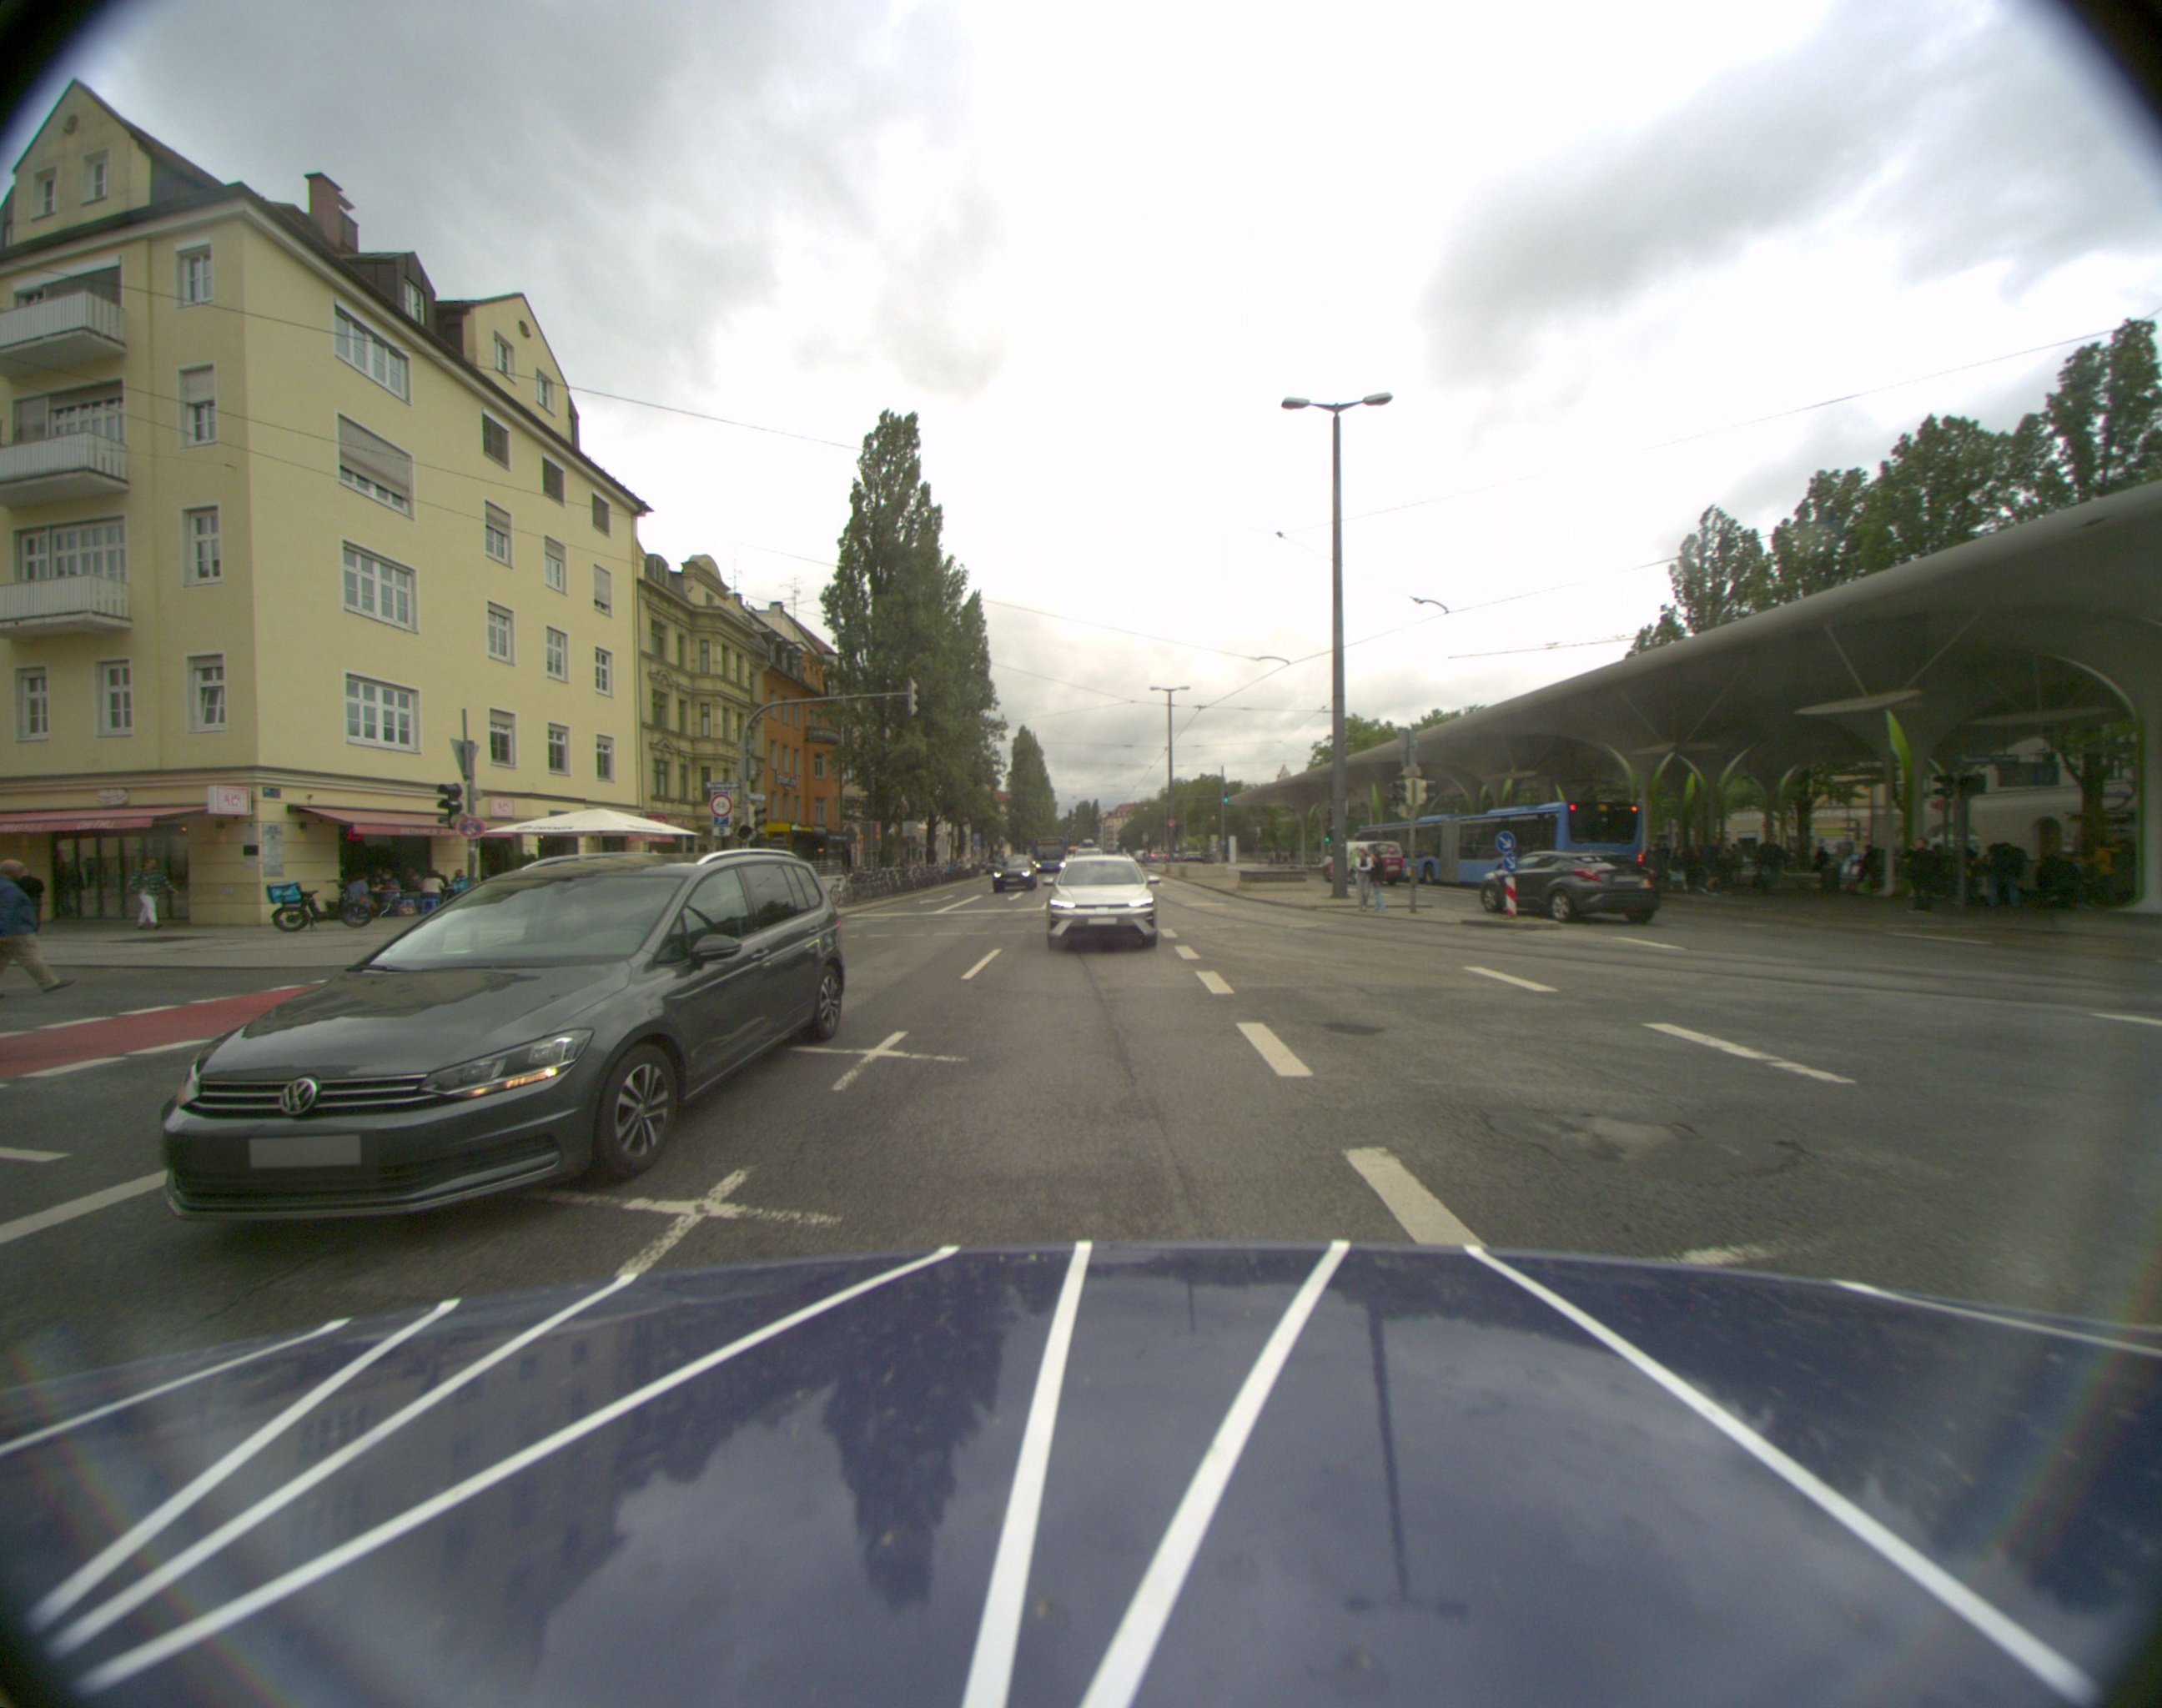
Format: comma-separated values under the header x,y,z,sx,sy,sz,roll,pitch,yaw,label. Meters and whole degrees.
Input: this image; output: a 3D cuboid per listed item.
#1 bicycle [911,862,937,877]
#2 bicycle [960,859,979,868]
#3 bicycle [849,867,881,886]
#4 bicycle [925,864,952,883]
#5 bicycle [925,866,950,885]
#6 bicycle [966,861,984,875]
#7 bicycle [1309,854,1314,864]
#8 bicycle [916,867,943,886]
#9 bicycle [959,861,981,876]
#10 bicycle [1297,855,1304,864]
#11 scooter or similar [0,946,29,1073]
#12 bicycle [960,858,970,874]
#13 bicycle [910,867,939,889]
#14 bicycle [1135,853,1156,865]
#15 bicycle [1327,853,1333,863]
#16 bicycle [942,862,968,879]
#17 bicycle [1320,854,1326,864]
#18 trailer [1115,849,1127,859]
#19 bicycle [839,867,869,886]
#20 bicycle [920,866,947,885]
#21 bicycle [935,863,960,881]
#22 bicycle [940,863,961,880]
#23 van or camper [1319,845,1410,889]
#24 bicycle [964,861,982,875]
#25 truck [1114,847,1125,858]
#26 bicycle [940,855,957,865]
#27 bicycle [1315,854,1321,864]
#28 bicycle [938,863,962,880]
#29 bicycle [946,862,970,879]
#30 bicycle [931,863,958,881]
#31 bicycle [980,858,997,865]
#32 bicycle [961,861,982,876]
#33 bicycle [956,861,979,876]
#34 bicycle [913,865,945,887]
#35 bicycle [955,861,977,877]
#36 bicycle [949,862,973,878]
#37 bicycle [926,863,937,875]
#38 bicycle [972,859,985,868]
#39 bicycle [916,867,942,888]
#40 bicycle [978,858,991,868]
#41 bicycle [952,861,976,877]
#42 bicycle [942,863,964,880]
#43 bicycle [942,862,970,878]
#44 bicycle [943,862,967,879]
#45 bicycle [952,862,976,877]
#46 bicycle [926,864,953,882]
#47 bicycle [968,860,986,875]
x,y,z,sx,sy,sz,roll,pitch,yaw,label
-12.308,1.225,59.575,1.892,1.167,0.582,-1,1,2,bicycle
-11.465,0.984,78.008,1.837,0.911,0.392,-2,1,2,bicycle
-12.669,1.306,44.527,1.727,1.039,0.387,-1,0,-5,bicycle
-7.957,1.096,42.387,1.837,0.990,0.326,-2,-1,38,bicycle
-7.799,1.171,41.293,0.326,0.990,1.837,-1,-1,-45,bicycle
-7.557,0.984,54.267,0.376,0.990,1.837,-1,-1,-38,bicycle
25.339,0.560,83.526,0.479,1.090,1.851,0,0,14,bicycle
-7.994,1.186,40.026,1.837,0.990,0.326,-2,-1,41,bicycle
-7.596,0.995,52.059,1.837,0.990,0.376,-2,-1,43,bicycle
24.167,0.599,83.764,0.479,0.889,1.850,0,0,9,bicycle
-9.683,1.351,6.072,0.777,1.069,1.256,-1,0,-1,scooter or similar
-9.174,0.948,60.263,0.424,1.281,1.778,-1,1,2,bicycle
-7.794,1.185,37.793,1.836,0.990,0.349,1,1,41,bicycle
6.733,0.557,79.477,2.234,1.144,0.505,-2,2,-24,bicycle
27.271,0.470,83.109,0.479,1.090,1.851,0,0,14,bicycle
-7.721,1.023,46.587,1.837,0.990,0.326,-2,-1,33,bicycle
26.550,0.504,83.316,0.479,1.090,1.851,0,0,14,bicycle
11.086,-0.083,213.457,2.616,2.666,15.639,1,0,0,trailer
-13.575,1.345,45.398,1.725,1.039,0.388,-2,-1,12,bicycle
-7.872,1.177,40.601,1.837,0.990,0.326,-2,-1,41,bicycle
-7.707,1.034,43.814,1.837,0.990,0.326,-2,-1,43,bicycle
-7.854,1.033,45.598,0.326,0.990,1.837,-1,-1,-42,bicycle
12.602,0.519,34.165,1.933,1.815,5.439,1,0,-1,van or camper
-7.591,0.988,53.503,0.376,0.990,1.837,-1,-1,-38,bicycle
11.098,-0.304,220.046,2.572,3.069,7.690,1,0,0,truck
-15.176,0.693,87.224,1.890,1.148,0.464,-2,1,-41,bicycle
26.033,0.528,83.411,0.479,1.090,1.851,0,0,14,bicycle
-7.679,1.030,44.466,1.837,0.990,0.326,-2,-1,43,bicycle
-7.657,1.017,47.199,1.837,0.990,0.326,-2,-1,38,bicycle
-7.735,1.038,43.103,1.837,0.990,0.326,-2,-1,38,bicycle
-13.575,1.133,111.679,2.323,0.916,0.640,-2,1,-2,bicycle
-7.625,0.993,52.809,0.376,0.990,1.837,-1,-1,-44,bicycle
-7.666,1.001,51.379,1.837,0.990,0.376,-2,-1,39,bicycle
-7.860,1.113,39.270,1.837,1.106,0.468,0,0,33,bicycle
-7.680,1.004,50.756,0.376,0.990,1.837,-1,-1,-45,bicycle
-7.696,1.014,48.634,1.837,0.990,0.376,-2,-1,38,bicycle
-11.100,1.107,56.350,0.458,0.887,1.893,-1,0,0,bicycle
-11.808,1.094,87.284,0.445,1.017,1.842,-1,1,27,bicycle
-7.740,1.180,38.567,0.326,0.990,1.836,-1,1,-45,bicycle
-11.079,1.048,87.354,0.445,1.017,1.842,-1,1,27,bicycle
-7.730,1.010,50.019,1.837,0.990,0.376,-2,-1,38,bicycle
-7.563,1.023,44.906,0.326,0.990,1.837,-1,-1,-42,bicycle
-7.922,1.023,47.988,1.837,0.990,0.376,-2,-1,25,bicycle
-7.632,1.021,45.934,1.837,0.990,0.326,-2,-1,43,bicycle
-7.629,1.007,49.381,1.837,0.990,0.376,-2,-1,38,bicycle
-7.772,1.046,41.731,1.837,0.990,0.326,-2,-1,38,bicycle
-7.501,0.978,54.907,0.376,0.990,1.837,-1,-1,-38,bicycle
